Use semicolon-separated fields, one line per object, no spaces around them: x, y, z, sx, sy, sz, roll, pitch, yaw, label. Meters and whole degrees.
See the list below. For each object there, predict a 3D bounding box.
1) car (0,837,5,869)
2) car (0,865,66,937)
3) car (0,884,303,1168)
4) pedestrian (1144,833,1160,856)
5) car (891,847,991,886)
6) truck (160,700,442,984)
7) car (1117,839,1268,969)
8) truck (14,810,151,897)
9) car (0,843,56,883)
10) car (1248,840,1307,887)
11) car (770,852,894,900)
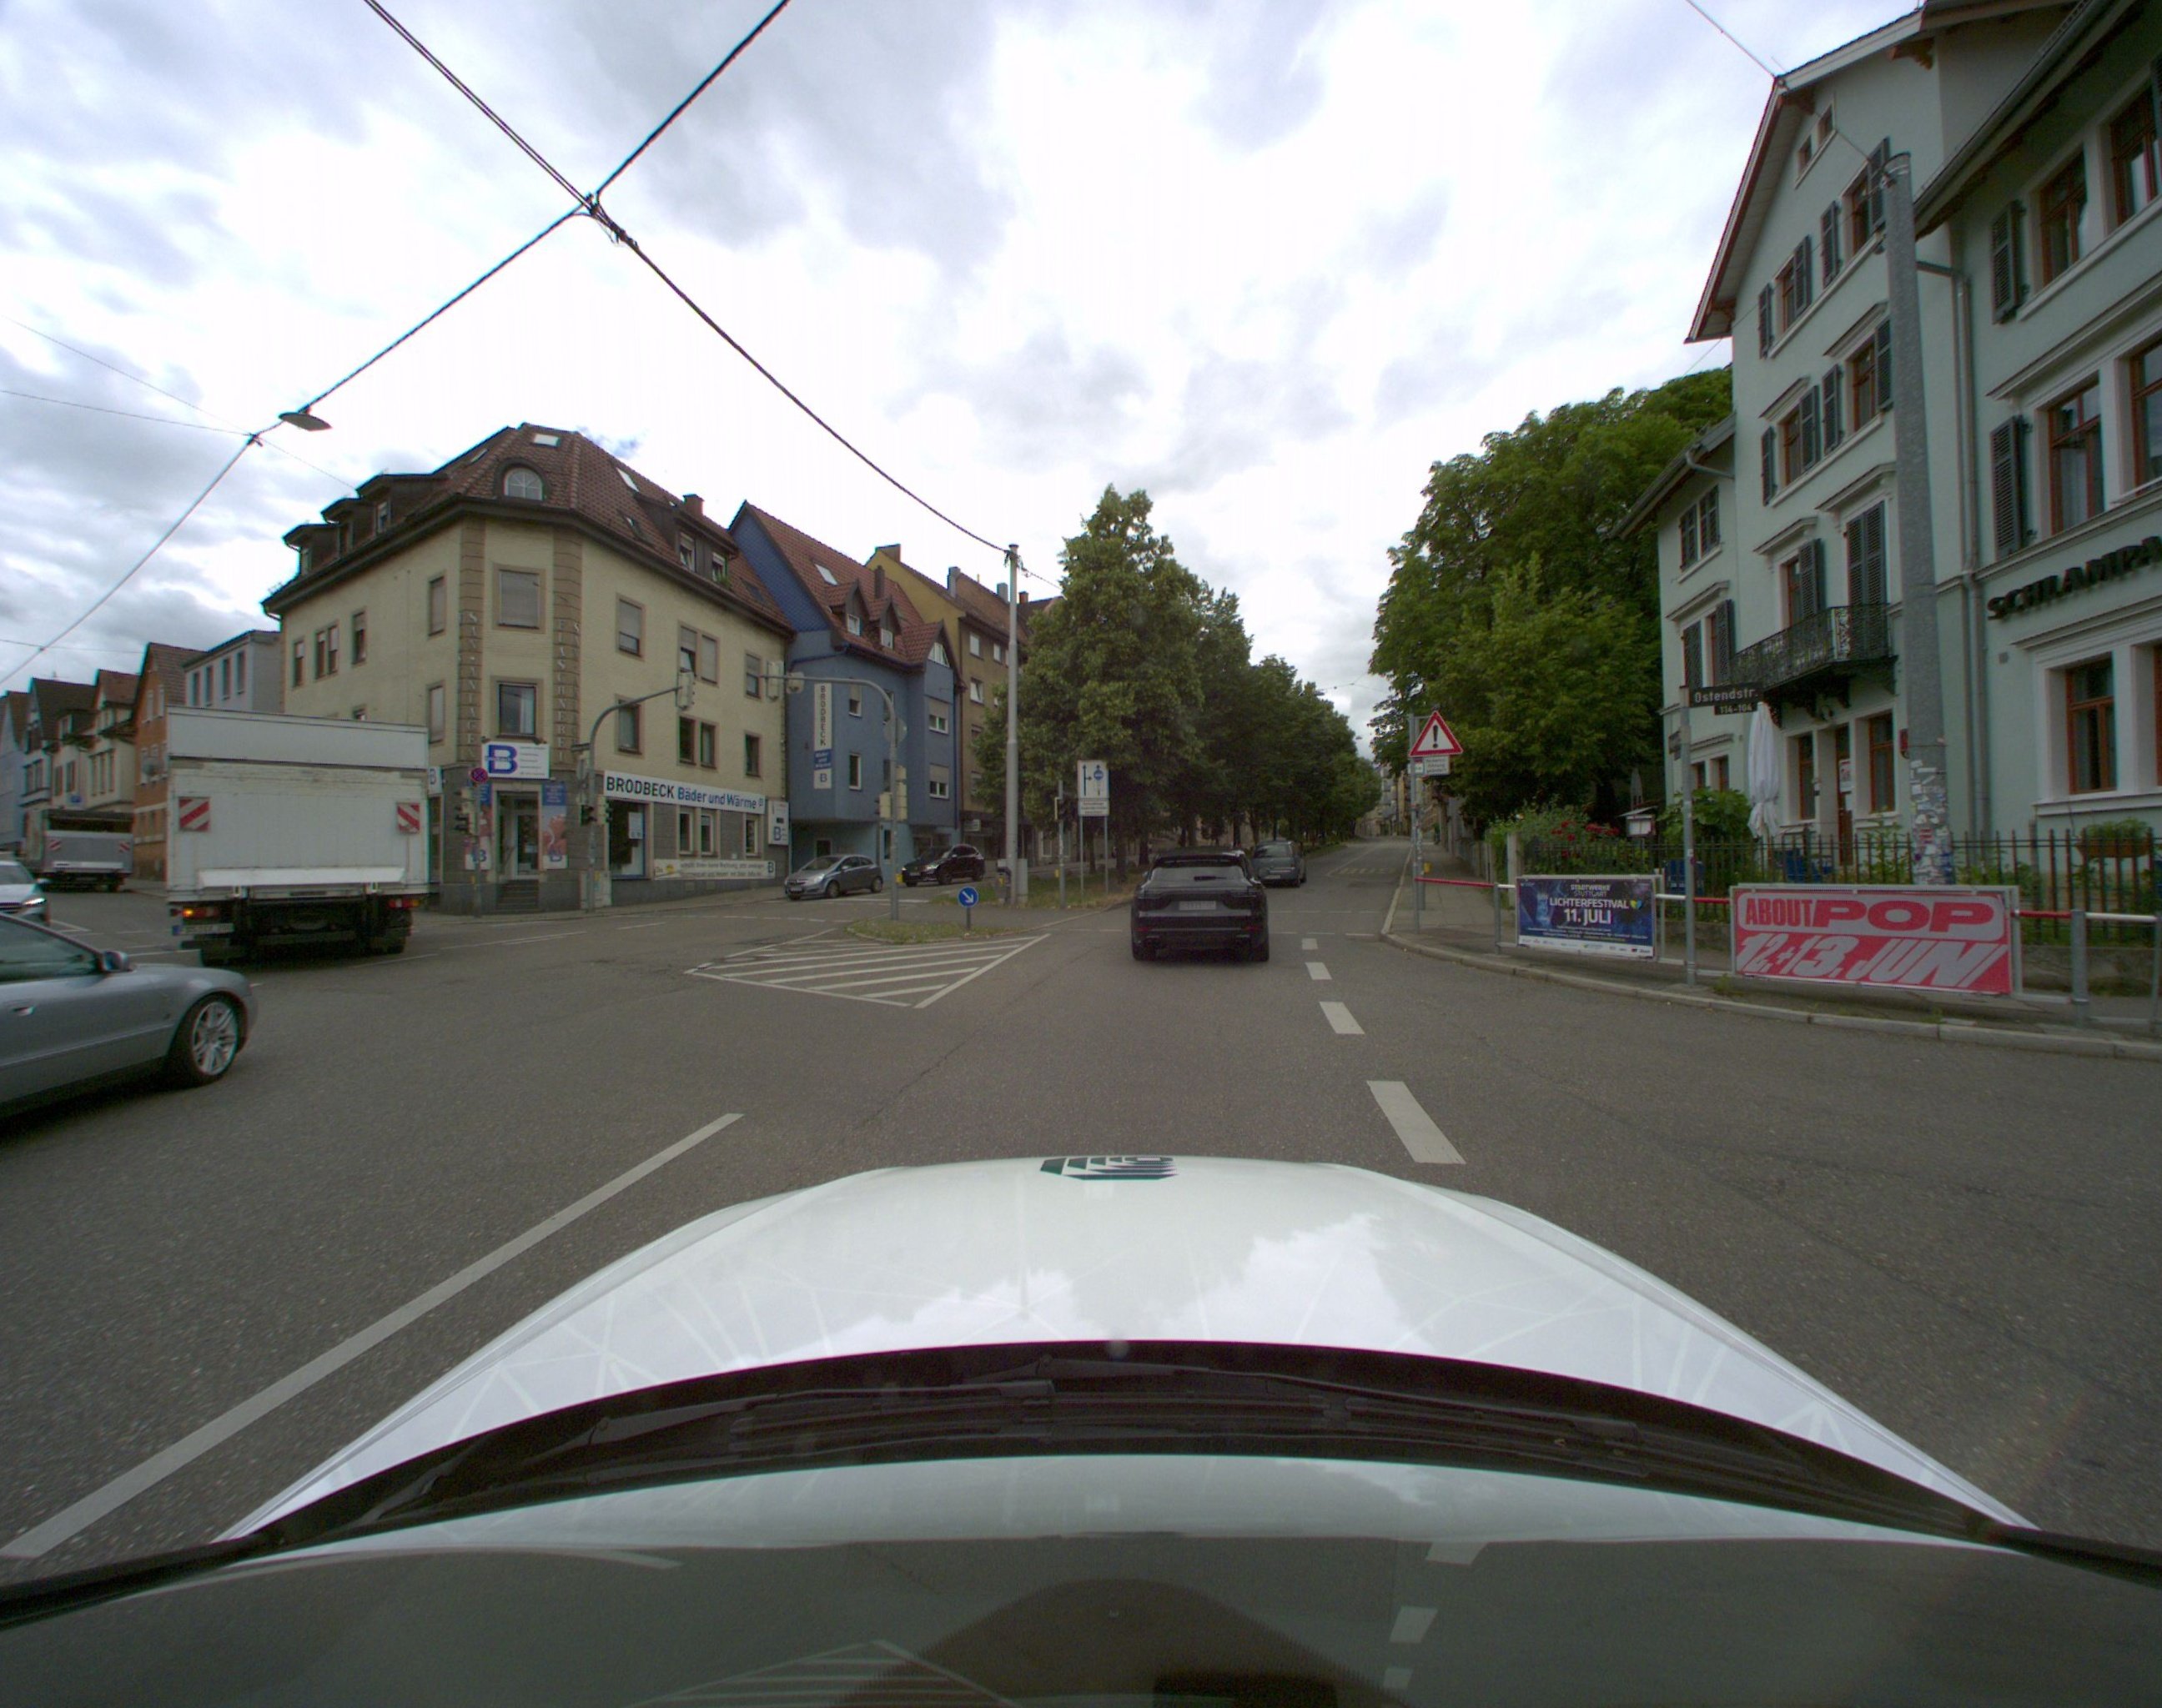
-65.331;-0.032;47.991;3.948;1.853;2.013;0;1;32;car
-23.703;0.982;17.526;3.924;1.469;1.892;-1;-1;32;car
-6.253;0.898;4.056;1.631;1.365;4.107;-1;-1;-15;car
6.247;-0.830;71.807;1.182;2.013;0.994;0;1;20;pedestrian
-5.865;0.496;34.807;1.853;1.415;4.725;-1;1;24;car
-13.372;-0.165;14.113;2.750;3.544;8.318;-1;1;-44;truck
1.972;0.638;13.206;2.018;1.723;4.515;0;1;12;car
-41.202;-0.036;33.583;5.369;3.354;2.716;1;0;30;truck
-55.969;0.432;42.846;3.949;2.013;2.013;0;1;31;car
7.009;0.316;28.807;1.635;1.556;3.600;1;0;19;car
-8.454;0.706;28.056;1.701;1.476;4.242;-2;0;23;car
